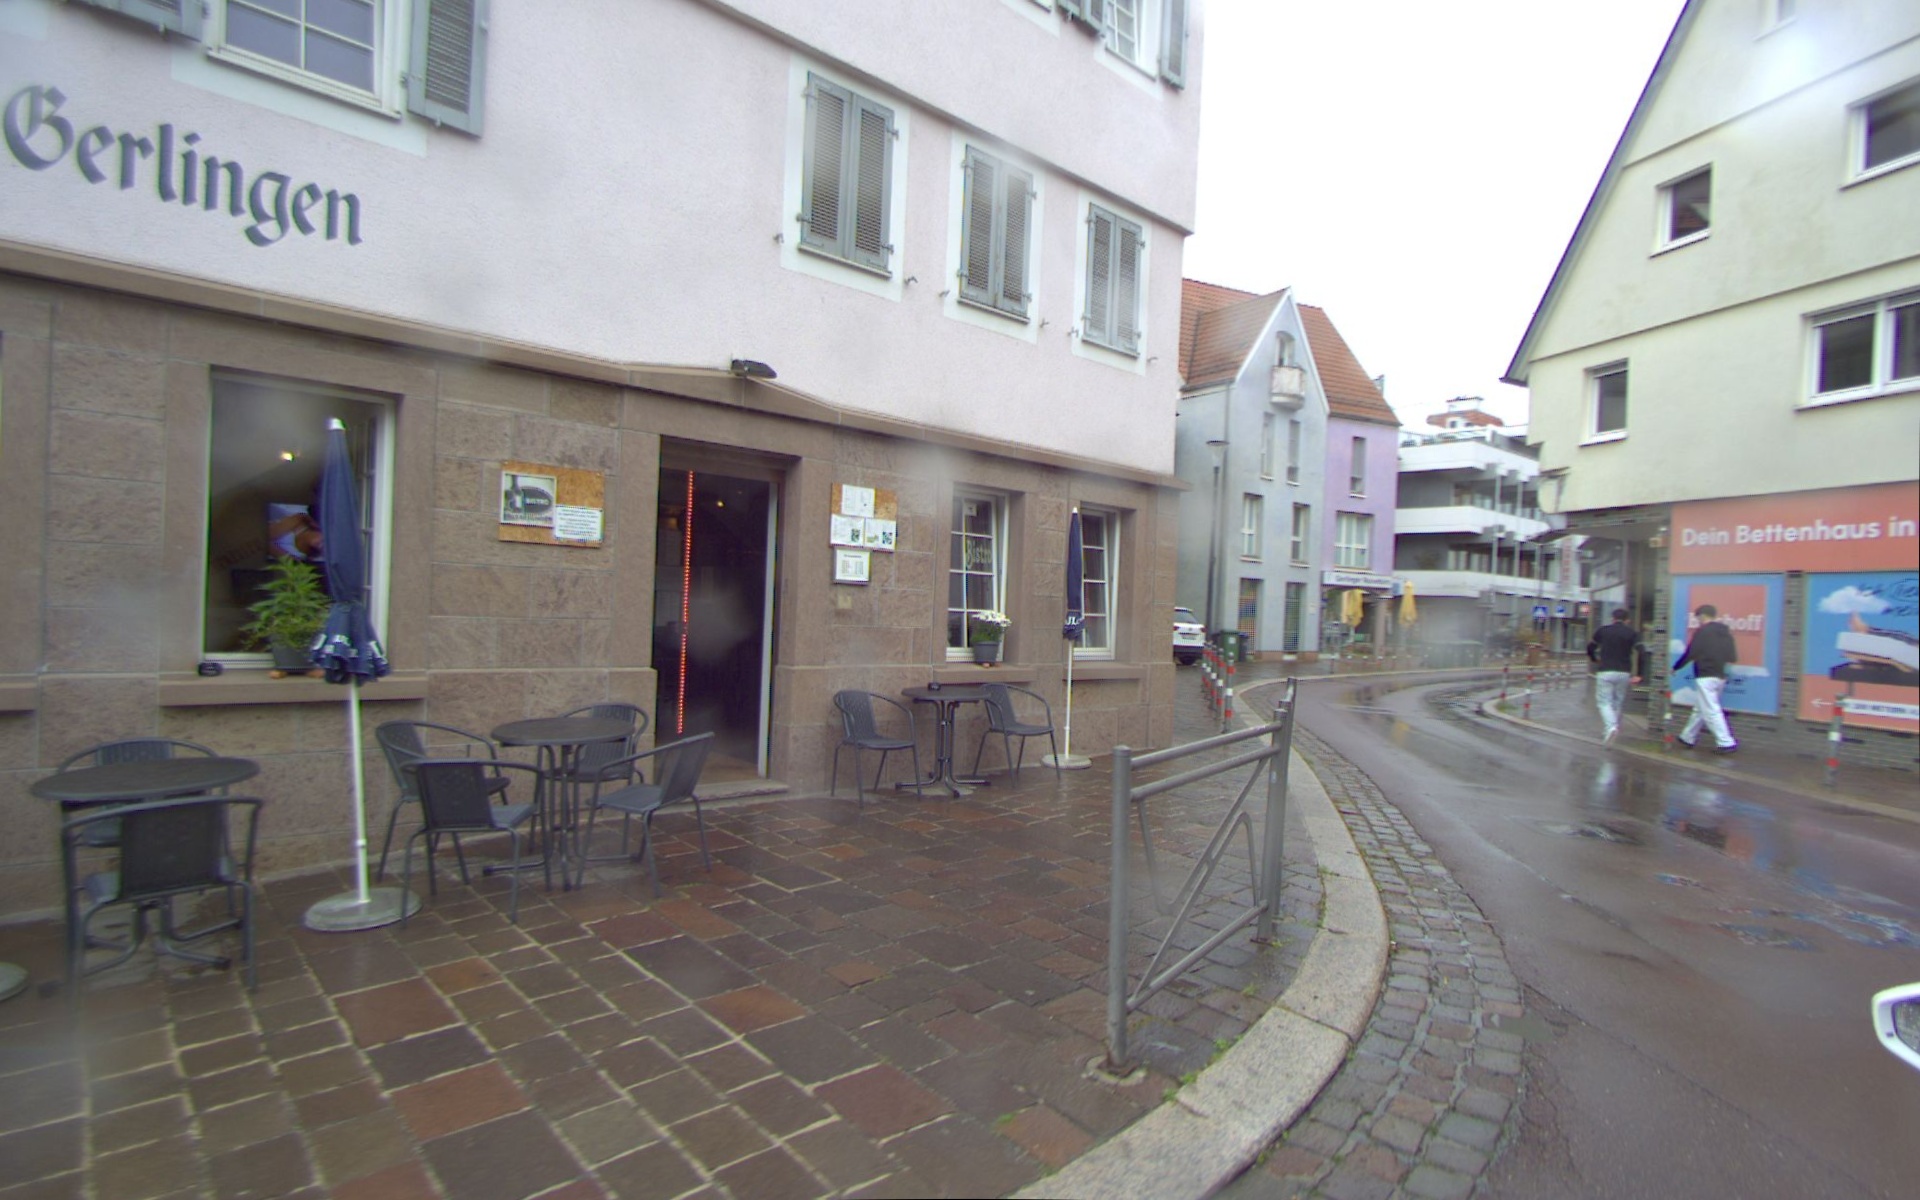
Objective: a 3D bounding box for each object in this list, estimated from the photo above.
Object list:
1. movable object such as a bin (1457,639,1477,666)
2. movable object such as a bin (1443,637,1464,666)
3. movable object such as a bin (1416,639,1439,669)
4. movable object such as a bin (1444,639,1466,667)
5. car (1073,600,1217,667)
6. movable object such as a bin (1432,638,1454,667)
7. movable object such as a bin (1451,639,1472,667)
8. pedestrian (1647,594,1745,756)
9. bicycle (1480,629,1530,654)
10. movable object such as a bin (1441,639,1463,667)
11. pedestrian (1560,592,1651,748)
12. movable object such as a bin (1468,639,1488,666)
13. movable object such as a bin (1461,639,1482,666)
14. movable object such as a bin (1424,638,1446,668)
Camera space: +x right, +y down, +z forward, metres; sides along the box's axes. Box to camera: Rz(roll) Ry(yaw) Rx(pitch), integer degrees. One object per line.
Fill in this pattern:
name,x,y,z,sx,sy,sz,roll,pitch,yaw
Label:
movable object such as a bin,22.214,2.321,44.017,0.573,1.142,0.627,3,-1,-43
movable object such as a bin,20.504,2.135,41.732,0.573,1.142,0.627,3,-1,-43
movable object such as a bin,18.550,2.148,39.853,0.573,1.142,0.627,3,-1,-43
movable object such as a bin,21.213,2.264,43.040,0.573,1.142,0.627,3,-1,-43
car,5.339,0.948,29.432,1.978,1.698,3.966,3,0,-31
movable object such as a bin,19.698,2.140,40.939,0.573,1.142,0.627,3,-1,-43
movable object such as a bin,21.753,2.300,43.560,0.573,1.142,0.627,3,-1,-43
pedestrian,9.610,0.958,13.130,0.642,2.040,0.759,3,-1,-13
bicycle,31.002,2.350,57.200,1.002,1.332,2.283,3,-2,-38
movable object such as a bin,20.770,2.220,42.405,0.573,1.142,0.627,3,-1,-43
pedestrian,8.716,0.929,13.588,0.642,2.040,0.759,3,-1,-13
movable object such as a bin,23.141,2.353,44.889,0.573,1.142,0.627,3,-1,-43
movable object such as a bin,22.659,2.334,44.489,0.573,1.142,0.627,3,-1,-43
movable object such as a bin,19.107,2.127,40.384,0.573,1.142,0.627,3,-1,-43
